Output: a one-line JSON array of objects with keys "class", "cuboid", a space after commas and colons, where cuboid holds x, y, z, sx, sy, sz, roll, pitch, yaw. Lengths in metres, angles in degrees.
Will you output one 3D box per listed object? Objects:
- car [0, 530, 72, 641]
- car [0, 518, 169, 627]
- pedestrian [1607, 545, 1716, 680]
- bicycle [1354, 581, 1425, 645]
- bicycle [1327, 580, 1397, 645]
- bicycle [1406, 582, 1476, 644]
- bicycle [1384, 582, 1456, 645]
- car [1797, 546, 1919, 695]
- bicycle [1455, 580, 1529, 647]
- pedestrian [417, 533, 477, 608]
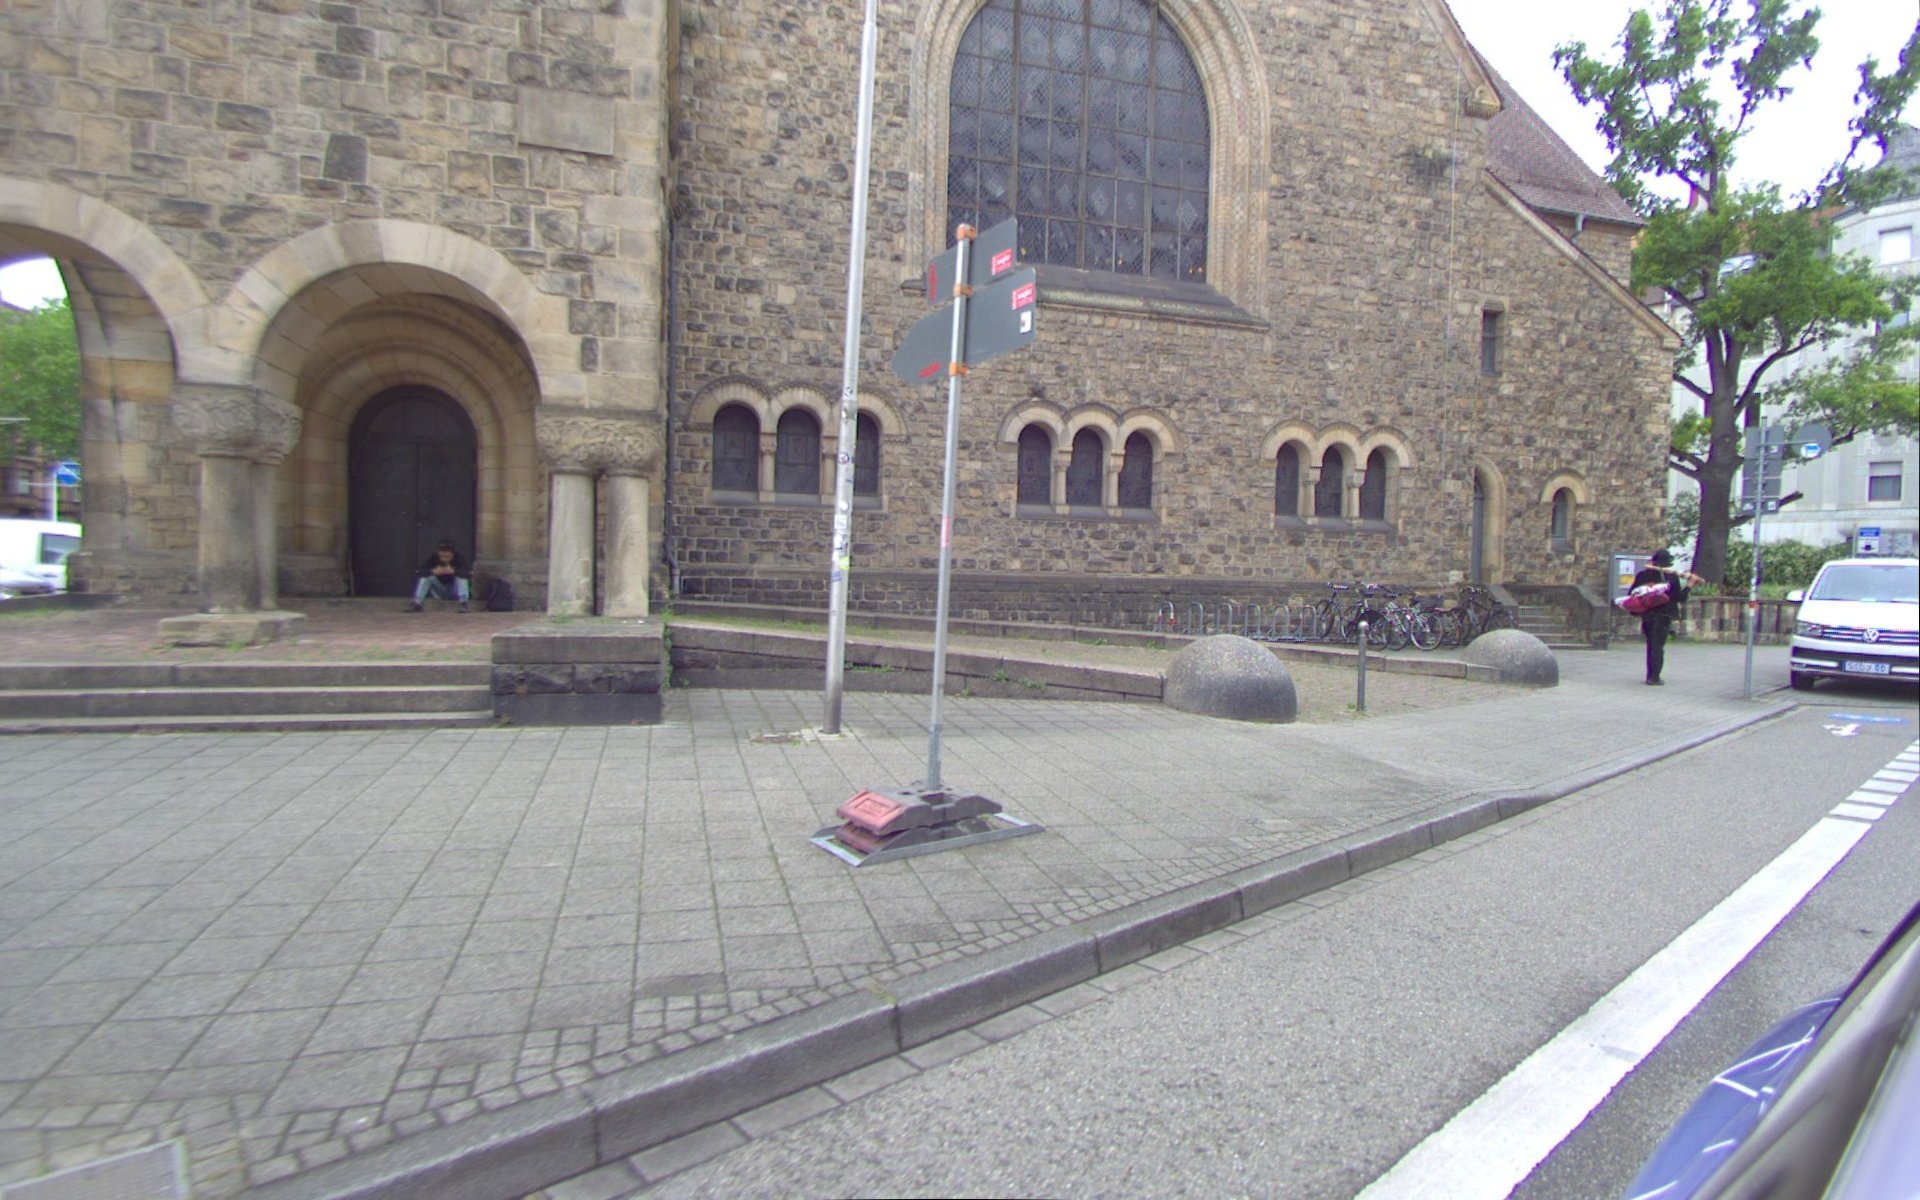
[{"class": "car", "cuboid": [-15.192, -0.245, 14.456, 3.394, 1.549, 1.622, 0, 2, -14]}, {"class": "car", "cuboid": [-16.213, -0.491, 17.660, 3.394, 1.815, 1.691, 0, 2, -14]}, {"class": "pedestrian", "cuboid": [9.895, 0.147, 14.292, 0.998, 1.831, 0.818, -2, 2, -19]}, {"class": "bicycle", "cuboid": [7.666, 0.220, 18.103, 0.304, 1.073, 1.387, 1, 2, -18]}, {"class": "bicycle", "cuboid": [7.103, 0.197, 17.937, 0.304, 1.073, 1.387, 1, 2, -18]}, {"class": "bicycle", "cuboid": [8.868, 0.228, 18.700, 0.304, 1.073, 1.347, 1, 2, -18]}, {"class": "bicycle", "cuboid": [8.330, 0.232, 18.380, 0.304, 1.073, 1.387, 1, 2, -18]}, {"class": "car", "cuboid": [14.213, 0.246, 15.145, 5.075, 1.943, 1.808, 0, 2, -42]}, {"class": "bicycle", "cuboid": [9.827, 0.233, 18.734, 0.304, 1.161, 1.347, 1, 2, -18]}, {"class": "pedestrian", "cuboid": [-6.830, -0.390, 13.486, 0.602, 0.963, 0.675, 1, 2, -18]}]
